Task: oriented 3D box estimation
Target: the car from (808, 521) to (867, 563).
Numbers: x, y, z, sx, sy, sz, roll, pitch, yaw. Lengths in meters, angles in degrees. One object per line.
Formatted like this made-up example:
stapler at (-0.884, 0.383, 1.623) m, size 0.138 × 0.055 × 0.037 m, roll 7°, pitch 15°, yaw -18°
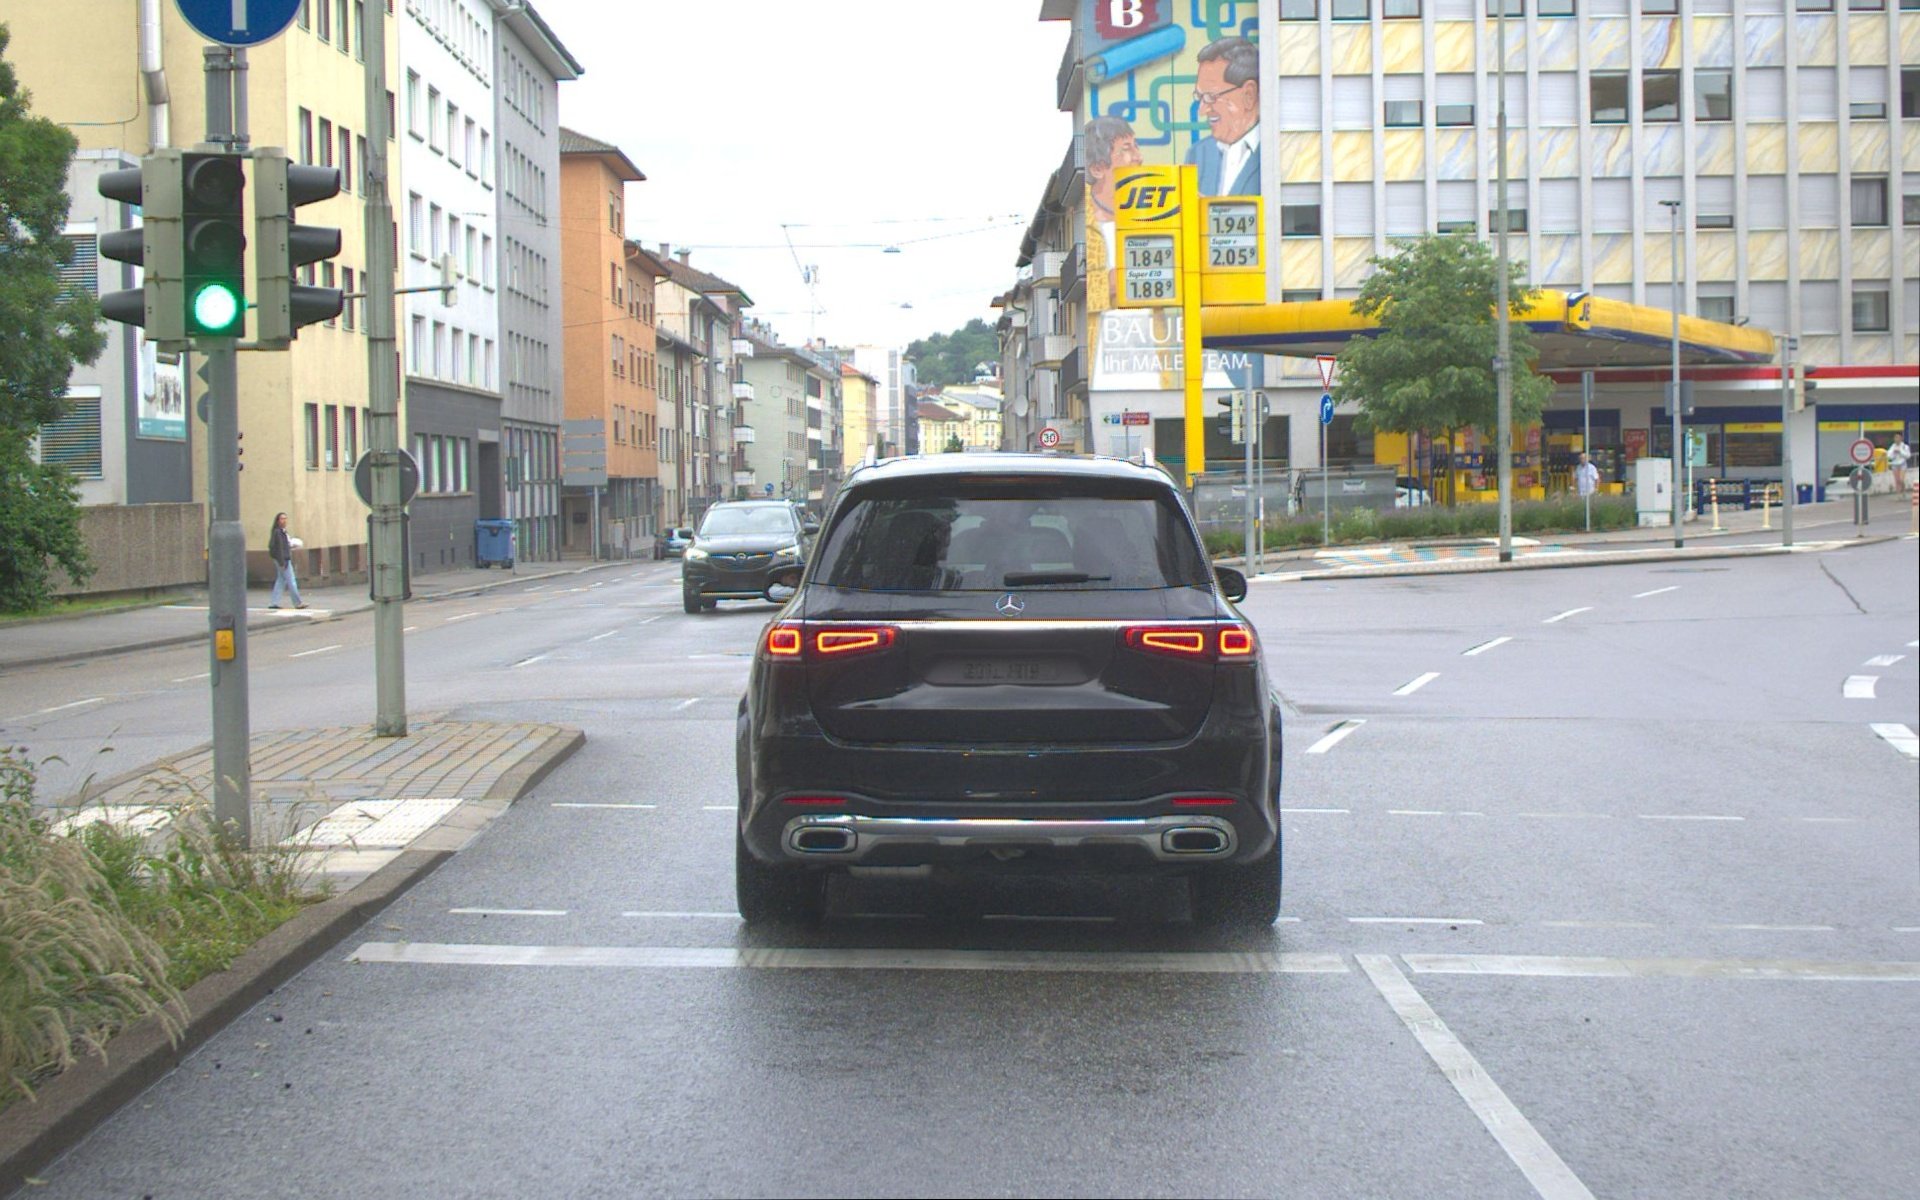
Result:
car at (-4.859, -2.306, 137.268) m, size 1.994 × 1.542 × 4.189 m, roll 1°, pitch 0°, yaw 3°

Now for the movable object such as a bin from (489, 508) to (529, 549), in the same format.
movable object such as a bin at (-11.776, -1.870, 89.815) m, size 0.910 × 1.034 × 0.844 m, roll 1°, pitch 0°, yaw 1°

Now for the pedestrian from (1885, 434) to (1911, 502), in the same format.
pedestrian at (22.755, -3.195, 83.397) m, size 0.484 × 1.635 × 0.438 m, roll 1°, pitch 0°, yaw 29°

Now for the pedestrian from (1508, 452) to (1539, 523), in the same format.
pedestrian at (13.782, -2.756, 84.047) m, size 0.527 × 1.721 × 0.688 m, roll 0°, pitch 1°, yaw 30°

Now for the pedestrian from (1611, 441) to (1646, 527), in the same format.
pedestrian at (13.591, -2.352, 69.885) m, size 0.526 × 1.721 × 0.688 m, roll 0°, pitch 1°, yaw 27°

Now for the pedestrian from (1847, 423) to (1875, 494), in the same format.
pedestrian at (22.232, -3.486, 84.862) m, size 0.526 × 1.721 × 0.688 m, roll 0°, pitch 1°, yaw 27°

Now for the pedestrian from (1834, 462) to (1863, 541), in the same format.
pedestrian at (15.929, -1.762, 61.635) m, size 0.396 × 1.395 × 0.446 m, roll 1°, pitch 0°, yaw 2°

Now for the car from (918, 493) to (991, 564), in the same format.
car at (-0.147, -1.704, 83.048) m, size 1.683 × 1.590 × 4.000 m, roll 1°, pitch 0°, yaw -1°

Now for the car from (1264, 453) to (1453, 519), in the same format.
car at (8.875, -2.536, 76.816) m, size 1.732 × 1.371 × 3.998 m, roll -2°, pitch 2°, yaw -43°

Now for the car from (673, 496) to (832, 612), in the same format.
car at (-3.026, -0.655, 50.932) m, size 1.993 × 1.609 × 4.189 m, roll 1°, pitch 0°, yaw 1°

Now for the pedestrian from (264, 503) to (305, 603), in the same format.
pedestrian at (-11.797, -0.826, 60.057) m, size 0.627 × 1.721 × 0.650 m, roll -1°, pitch 1°, yaw -10°

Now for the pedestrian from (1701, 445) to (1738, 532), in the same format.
pedestrian at (15.078, -2.217, 68.287) m, size 0.572 × 1.692 × 0.631 m, roll 1°, pitch 0°, yaw 2°

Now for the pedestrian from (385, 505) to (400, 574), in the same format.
pedestrian at (-13.422, -1.434, 81.319) m, size 0.245 × 1.619 × 0.411 m, roll 1°, pitch 0°, yaw 1°

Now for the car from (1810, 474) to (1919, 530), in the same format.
car at (25.365, -2.692, 95.252) m, size 1.998 × 1.393 × 3.991 m, roll 1°, pitch 0°, yaw 39°

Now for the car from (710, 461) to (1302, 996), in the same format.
car at (0.165, 0.442, 13.791) m, size 1.993 × 1.794 × 4.000 m, roll 1°, pitch 0°, yaw 0°

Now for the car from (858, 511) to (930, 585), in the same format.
car at (-1.876, -1.470, 98.326) m, size 1.993 × 2.007 × 4.000 m, roll 1°, pitch 0°, yaw -1°
